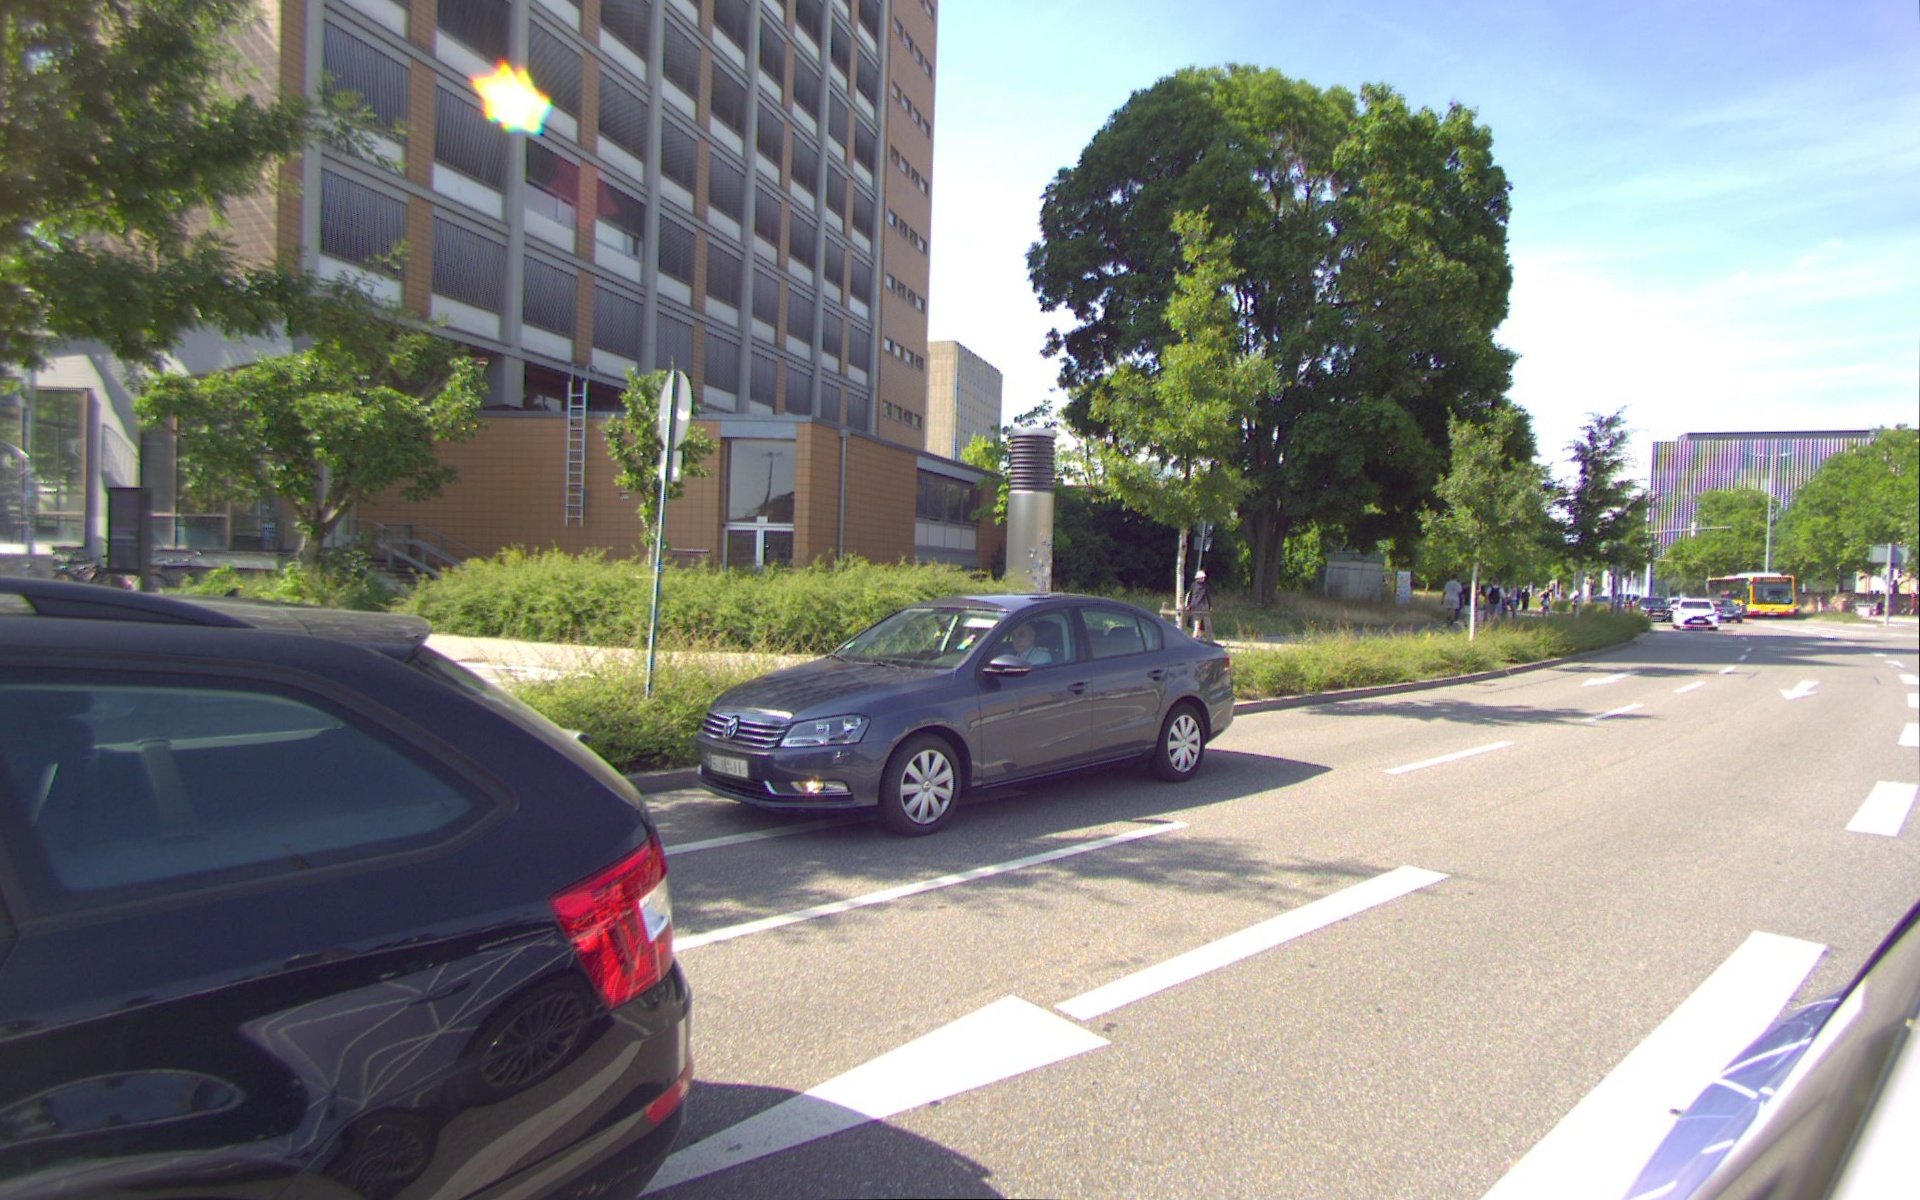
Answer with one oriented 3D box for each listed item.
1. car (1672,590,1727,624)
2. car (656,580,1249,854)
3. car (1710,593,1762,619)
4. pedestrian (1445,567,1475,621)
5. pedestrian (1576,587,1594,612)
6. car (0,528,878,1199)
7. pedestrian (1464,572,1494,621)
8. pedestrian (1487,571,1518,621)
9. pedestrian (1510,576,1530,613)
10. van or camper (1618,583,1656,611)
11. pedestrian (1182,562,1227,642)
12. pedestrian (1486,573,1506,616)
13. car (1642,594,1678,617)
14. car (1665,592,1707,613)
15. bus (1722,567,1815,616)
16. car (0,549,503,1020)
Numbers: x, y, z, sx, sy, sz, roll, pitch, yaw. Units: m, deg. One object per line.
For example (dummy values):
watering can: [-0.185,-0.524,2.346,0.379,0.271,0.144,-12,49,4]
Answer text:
car: [34.684,0.309,47.529,1.668,1.493,3.720,0,0,30]
car: [0.204,0.589,7.491,4.451,1.453,1.633,-1,1,-42]
car: [46.162,0.341,60.286,1.635,1.442,4.083,0,0,26]
pedestrian: [17.577,-0.226,35.586,0.719,1.860,0.643,0,3,-41]
pedestrian: [29.426,-0.018,47.650,0.639,1.145,0.743,4,3,33]
car: [-2.445,0.638,1.097,4.698,1.453,1.633,-1,1,-42]
pedestrian: [17.978,-0.119,35.072,0.719,1.646,0.643,0,3,-41]
pedestrian: [18.743,-0.150,34.946,0.739,1.694,0.643,0,3,-41]
pedestrian: [23.109,-0.225,41.772,0.638,1.464,0.564,3,3,29]
van or camper: [48.194,-0.256,72.107,1.714,1.911,4.875,2,2,28]
pedestrian: [5.333,0.039,22.063,0.719,1.684,0.592,0,3,-41]
pedestrian: [22.346,-0.237,42.173,0.638,1.785,0.470,3,3,29]
car: [41.982,0.300,60.761,1.398,1.311,3.544,2,2,29]
car: [50.430,0.154,70.357,1.635,1.442,4.083,0,0,26]
bus: [56.682,-0.609,71.326,2.771,3.076,12.031,2,1,28]
car: [-4.115,0.564,3.439,4.324,1.446,1.703,1,4,-44]
